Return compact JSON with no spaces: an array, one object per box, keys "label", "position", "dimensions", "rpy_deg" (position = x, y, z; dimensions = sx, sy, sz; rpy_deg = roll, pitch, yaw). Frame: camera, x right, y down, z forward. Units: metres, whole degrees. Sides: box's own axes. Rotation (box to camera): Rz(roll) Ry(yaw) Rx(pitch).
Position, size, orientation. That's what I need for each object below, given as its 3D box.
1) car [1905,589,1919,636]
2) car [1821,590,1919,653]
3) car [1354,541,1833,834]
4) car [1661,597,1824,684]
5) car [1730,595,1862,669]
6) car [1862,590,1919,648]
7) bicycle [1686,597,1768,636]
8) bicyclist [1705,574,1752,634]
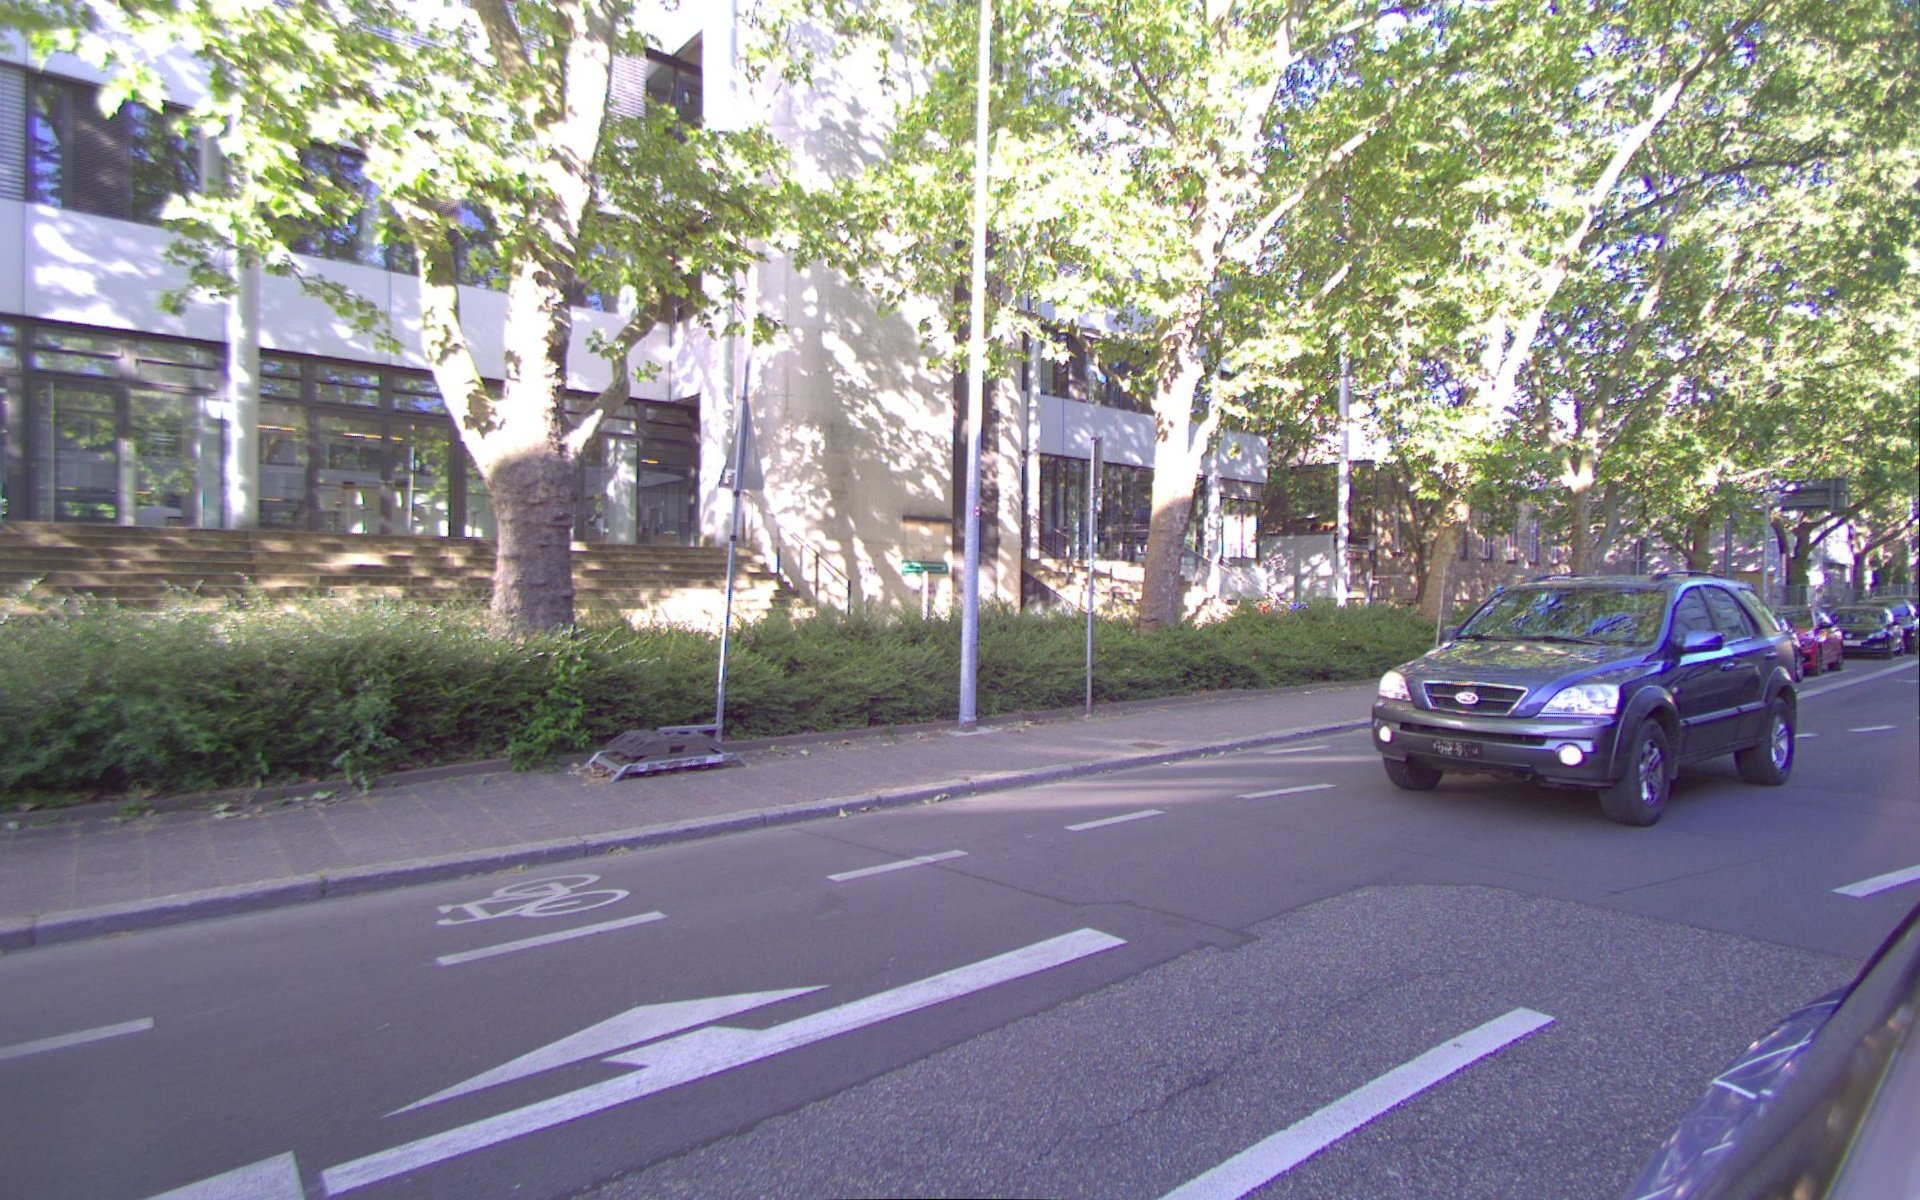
[{"label":"car","position":[38.811,0.497,40.066],"dimensions":[3.829,1.818,1.739],"rpy_deg":[0,1,-42]},{"label":"car","position":[25.955,0.551,28.763],"dimensions":[4.022,1.653,1.739],"rpy_deg":[0,1,-42]},{"label":"car","position":[5.262,0.541,8.210],"dimensions":[4.302,1.793,1.785],"rpy_deg":[0,-1,-36]},{"label":"car","position":[15.042,0.710,19.382],"dimensions":[4.022,1.472,1.739],"rpy_deg":[0,-1,-42]},{"label":"car","position":[18.690,0.669,22.573],"dimensions":[3.851,1.511,1.679],"rpy_deg":[0,-1,-42]},{"label":"car","position":[29.757,0.554,31.854],"dimensions":[3.840,1.708,1.633],"rpy_deg":[0,1,-42]},{"label":"bicycle","position":[21.366,0.448,28.209],"dimensions":[1.790,1.027,0.724],"rpy_deg":[0,0,39]},{"label":"bicyclist","position":[21.395,0.100,28.185],"dimensions":[1.032,1.640,0.688],"rpy_deg":[0,0,39]}]
